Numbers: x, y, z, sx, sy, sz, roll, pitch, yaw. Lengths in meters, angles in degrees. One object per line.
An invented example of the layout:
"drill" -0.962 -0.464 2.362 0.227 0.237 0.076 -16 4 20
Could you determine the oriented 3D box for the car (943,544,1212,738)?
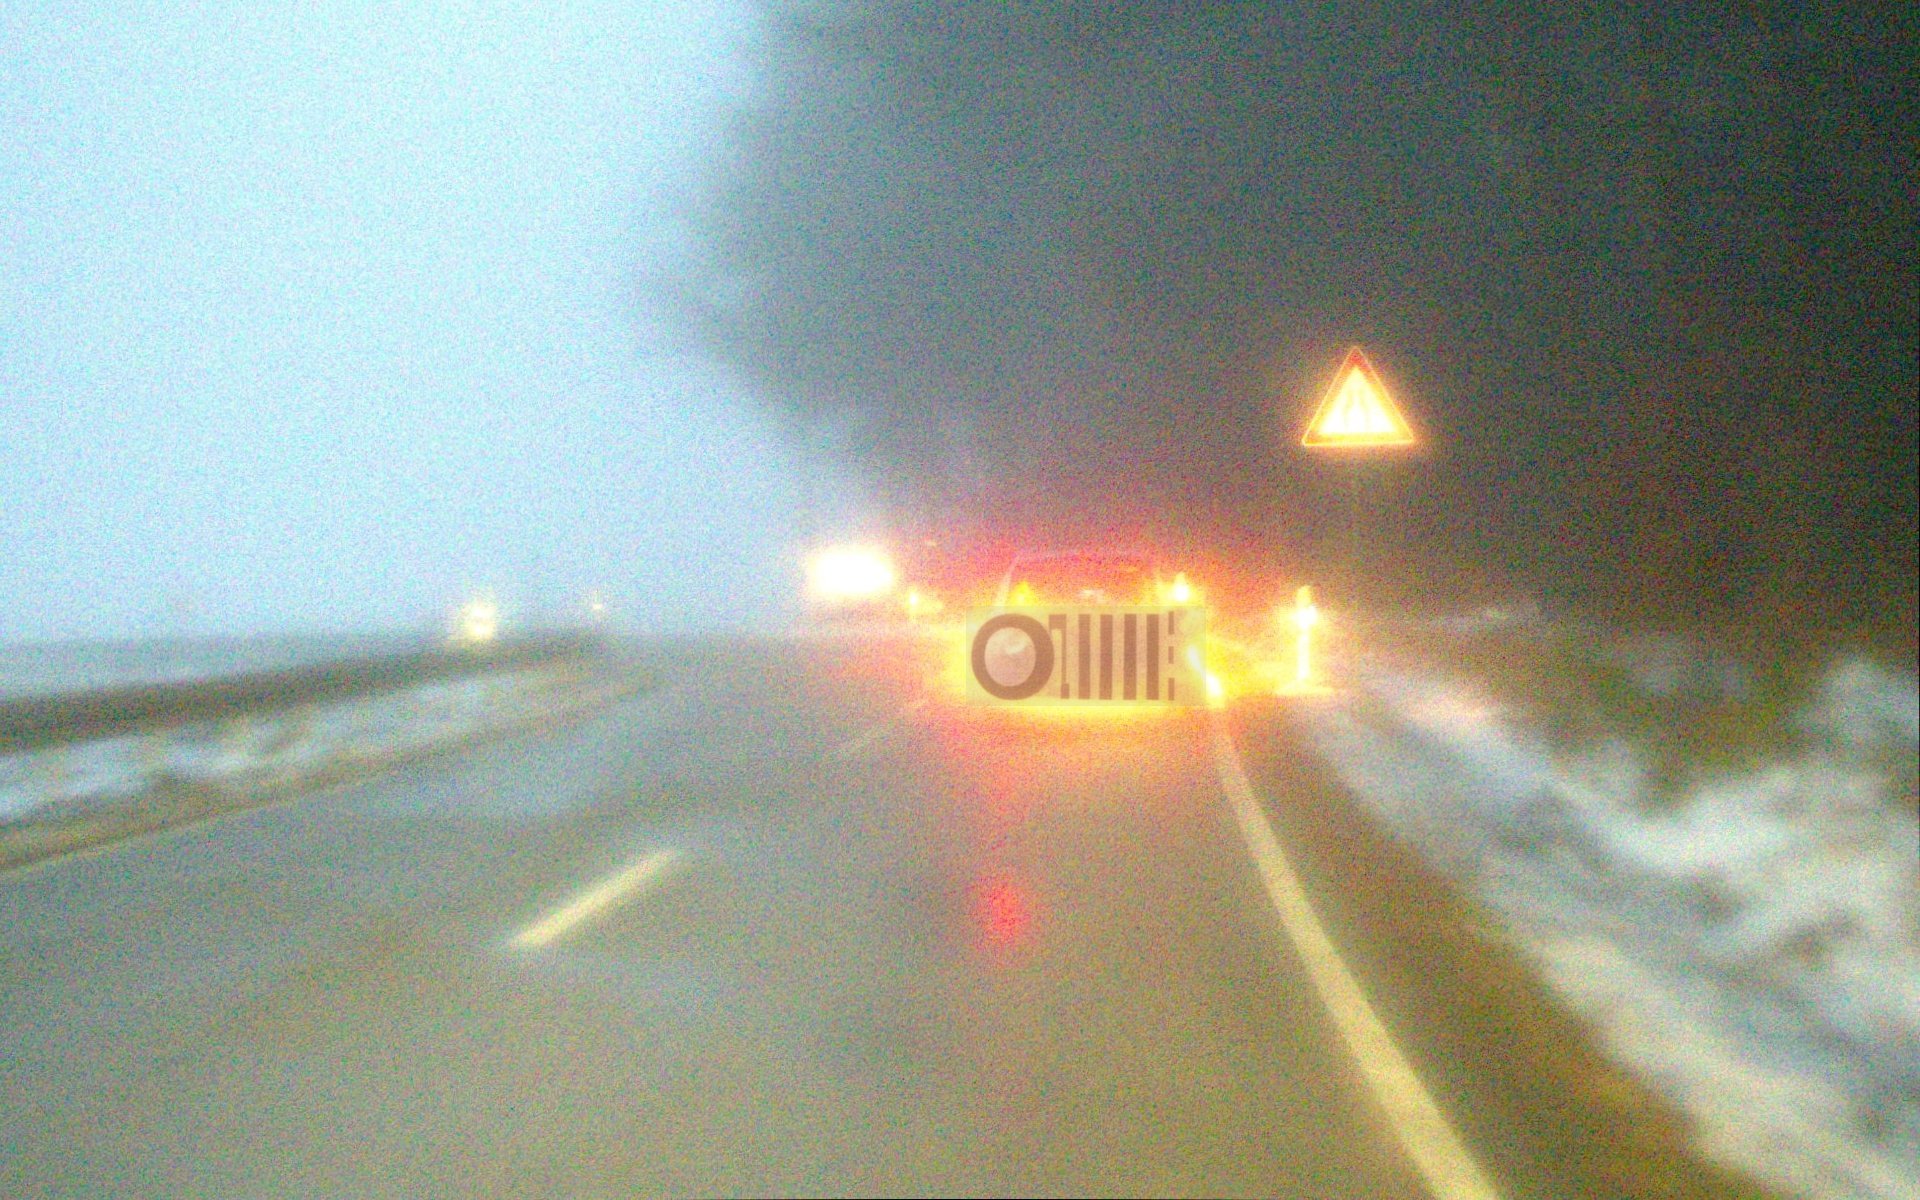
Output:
"car" 0.923 0.296 27.394 1.946 1.376 4.000 2 0 2
